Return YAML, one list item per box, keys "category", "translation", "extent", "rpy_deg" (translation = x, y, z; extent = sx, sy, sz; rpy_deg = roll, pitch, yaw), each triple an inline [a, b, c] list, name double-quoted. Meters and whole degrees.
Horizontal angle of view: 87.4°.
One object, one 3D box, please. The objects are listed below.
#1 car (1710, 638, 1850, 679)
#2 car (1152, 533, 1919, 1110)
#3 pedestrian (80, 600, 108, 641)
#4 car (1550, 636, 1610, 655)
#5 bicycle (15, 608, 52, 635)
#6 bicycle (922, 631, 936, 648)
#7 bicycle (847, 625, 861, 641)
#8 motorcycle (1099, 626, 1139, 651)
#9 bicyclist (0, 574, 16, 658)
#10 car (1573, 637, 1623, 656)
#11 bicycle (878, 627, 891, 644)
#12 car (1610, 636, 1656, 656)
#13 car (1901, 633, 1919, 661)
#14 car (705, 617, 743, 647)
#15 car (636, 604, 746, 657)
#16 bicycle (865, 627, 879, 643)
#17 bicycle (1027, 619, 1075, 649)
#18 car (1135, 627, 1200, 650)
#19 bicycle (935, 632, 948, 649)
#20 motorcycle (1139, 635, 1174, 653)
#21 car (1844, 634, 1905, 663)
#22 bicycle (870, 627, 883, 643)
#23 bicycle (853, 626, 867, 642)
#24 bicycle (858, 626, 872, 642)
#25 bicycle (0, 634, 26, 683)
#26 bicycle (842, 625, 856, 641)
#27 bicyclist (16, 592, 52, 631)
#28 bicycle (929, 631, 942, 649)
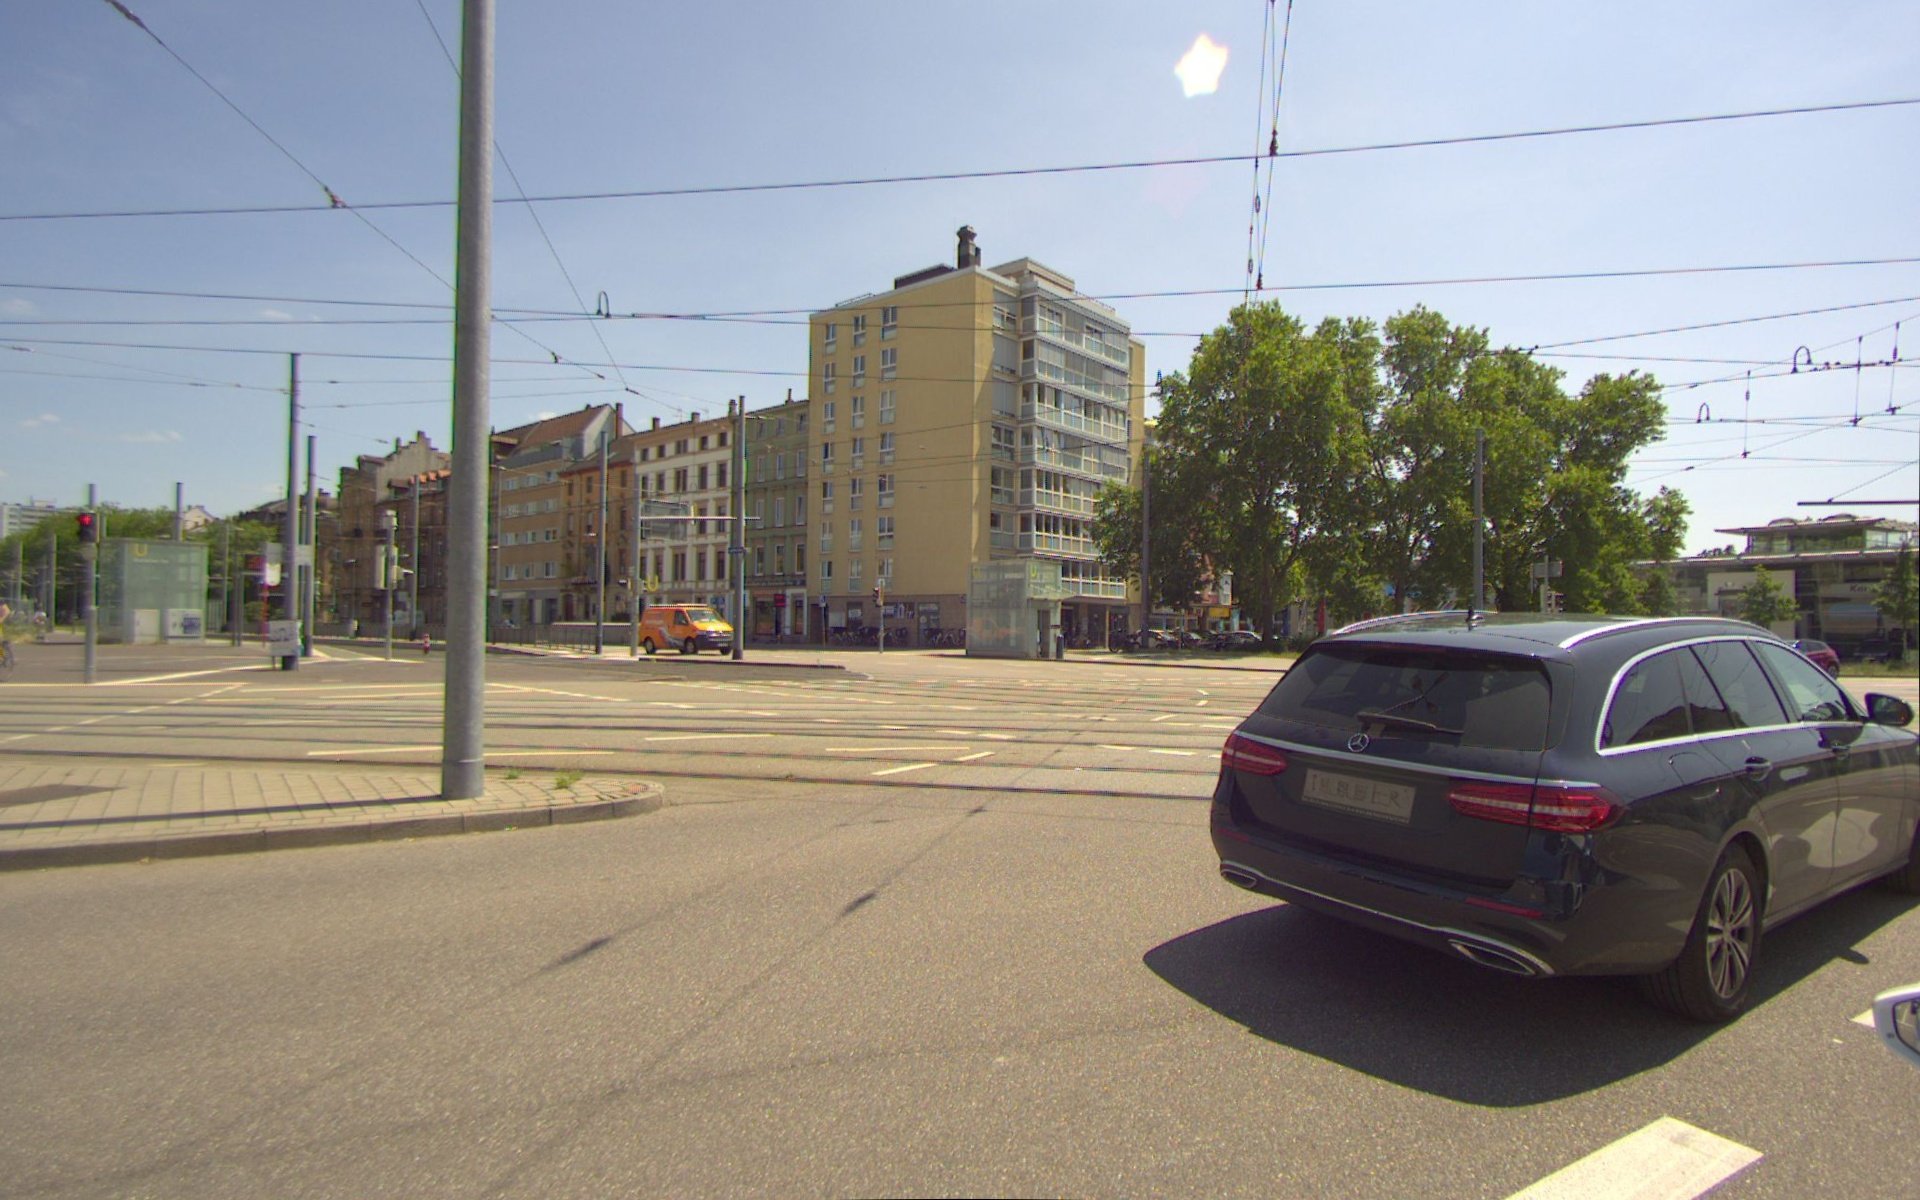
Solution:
- category: "car"
  translation: [31.544, 2.246, 38.645]
  extent: [4.771, 1.484, 1.992]
  rpy_deg: [1, -2, -19]
- category: "car"
  translation: [3.304, 0.694, 5.001]
  extent: [4.756, 1.662, 1.786]
  rpy_deg: [2, 0, -35]
- category: "pedestrian"
  translation: [-39.803, 0.938, 46.179]
  extent: [1.113, 1.837, 0.677]
  rpy_deg: [0, -1, 35]
- category: "car"
  translation: [54.351, 4.000, 88.161]
  extent: [4.243, 1.530, 1.772]
  rpy_deg: [0, -2, 23]
- category: "bicycle"
  translation: [-60.577, 1.391, 65.695]
  extent: [1.533, 1.530, 4.340]
  rpy_deg: [3, 0, -40]
- category: "bicycle"
  translation: [-1.900, 2.413, 61.684]
  extent: [0.424, 1.040, 1.445]
  rpy_deg: [1, -1, 14]
- category: "bicycle"
  translation: [-7.004, 2.195, 66.351]
  extent: [0.424, 1.040, 1.445]
  rpy_deg: [1, -1, 14]
- category: "motorcycle"
  translation: [8.420, 2.025, 53.304]
  extent: [0.949, 1.238, 2.802]
  rpy_deg: [1, -2, -17]
- category: "bicyclist"
  translation: [-17.806, 0.290, 18.360]
  extent: [0.433, 1.549, 1.244]
  rpy_deg: [3, 0, -28]
- category: "car"
  translation: [51.950, 3.795, 81.749]
  extent: [4.278, 1.530, 1.758]
  rpy_deg: [2, -2, -32]
- category: "bicycle"
  translation: [-4.876, 2.288, 64.739]
  extent: [0.424, 1.040, 1.445]
  rpy_deg: [1, -1, 14]
- category: "car"
  translation: [53.052, 3.643, 79.170]
  extent: [4.287, 1.530, 1.754]
  rpy_deg: [2, -2, -37]
- category: "car"
  translation: [61.446, 3.030, 63.443]
  extent: [3.956, 1.729, 1.910]
  rpy_deg: [3, 0, -32]
- category: "car"
  translation: [-14.691, 1.980, 62.615]
  extent: [1.804, 1.773, 3.997]
  rpy_deg: [1, -1, -6]
- category: "car"
  translation: [-11.158, 1.224, 41.571]
  extent: [4.798, 2.084, 1.991]
  rpy_deg: [0, -2, 40]
- category: "bicycle"
  translation: [-5.734, 2.250, 65.361]
  extent: [0.424, 1.040, 1.445]
  rpy_deg: [1, -1, 14]
- category: "bicycle"
  translation: [5.530, 2.071, 61.216]
  extent: [2.848, 1.790, 1.095]
  rpy_deg: [0, -2, 41]
- category: "car"
  translation: [14.202, 2.615, 68.834]
  extent: [3.933, 1.439, 1.994]
  rpy_deg: [0, -2, 34]
- category: "bicycle"
  translation: [-1.135, 2.447, 61.139]
  extent: [0.424, 1.040, 1.445]
  rpy_deg: [1, -1, 14]
- category: "motorcycle"
  translation: [11.160, 2.485, 56.973]
  extent: [1.885, 0.974, 0.525]
  rpy_deg: [0, -1, 29]
- category: "car"
  translation: [59.876, 3.168, 65.733]
  extent: [3.956, 1.729, 1.910]
  rpy_deg: [3, 0, -32]
- category: "bicycle"
  translation: [-5.403, 2.264, 64.977]
  extent: [0.424, 1.040, 1.445]
  rpy_deg: [1, -1, 14]
- category: "bicycle"
  translation: [-6.560, 2.213, 65.932]
  extent: [0.424, 1.040, 1.445]
  rpy_deg: [1, -1, 14]
- category: "bicycle"
  translation: [-6.187, 2.230, 65.639]
  extent: [0.424, 1.040, 1.445]
  rpy_deg: [1, -1, 14]
- category: "bicycle"
  translation: [-17.813, 1.077, 18.341]
  extent: [0.621, 0.866, 1.886]
  rpy_deg: [2, -2, -28]
- category: "bicycle"
  translation: [-7.359, 2.179, 66.676]
  extent: [0.424, 1.040, 1.445]
  rpy_deg: [1, -1, 14]
- category: "bicyclist"
  translation: [-60.569, 0.727, 65.717]
  extent: [1.533, 2.450, 2.004]
  rpy_deg: [3, 0, -41]
- category: "bicycle"
  translation: [-1.514, 2.430, 61.388]
  extent: [0.424, 1.040, 1.445]
  rpy_deg: [1, -1, 14]
